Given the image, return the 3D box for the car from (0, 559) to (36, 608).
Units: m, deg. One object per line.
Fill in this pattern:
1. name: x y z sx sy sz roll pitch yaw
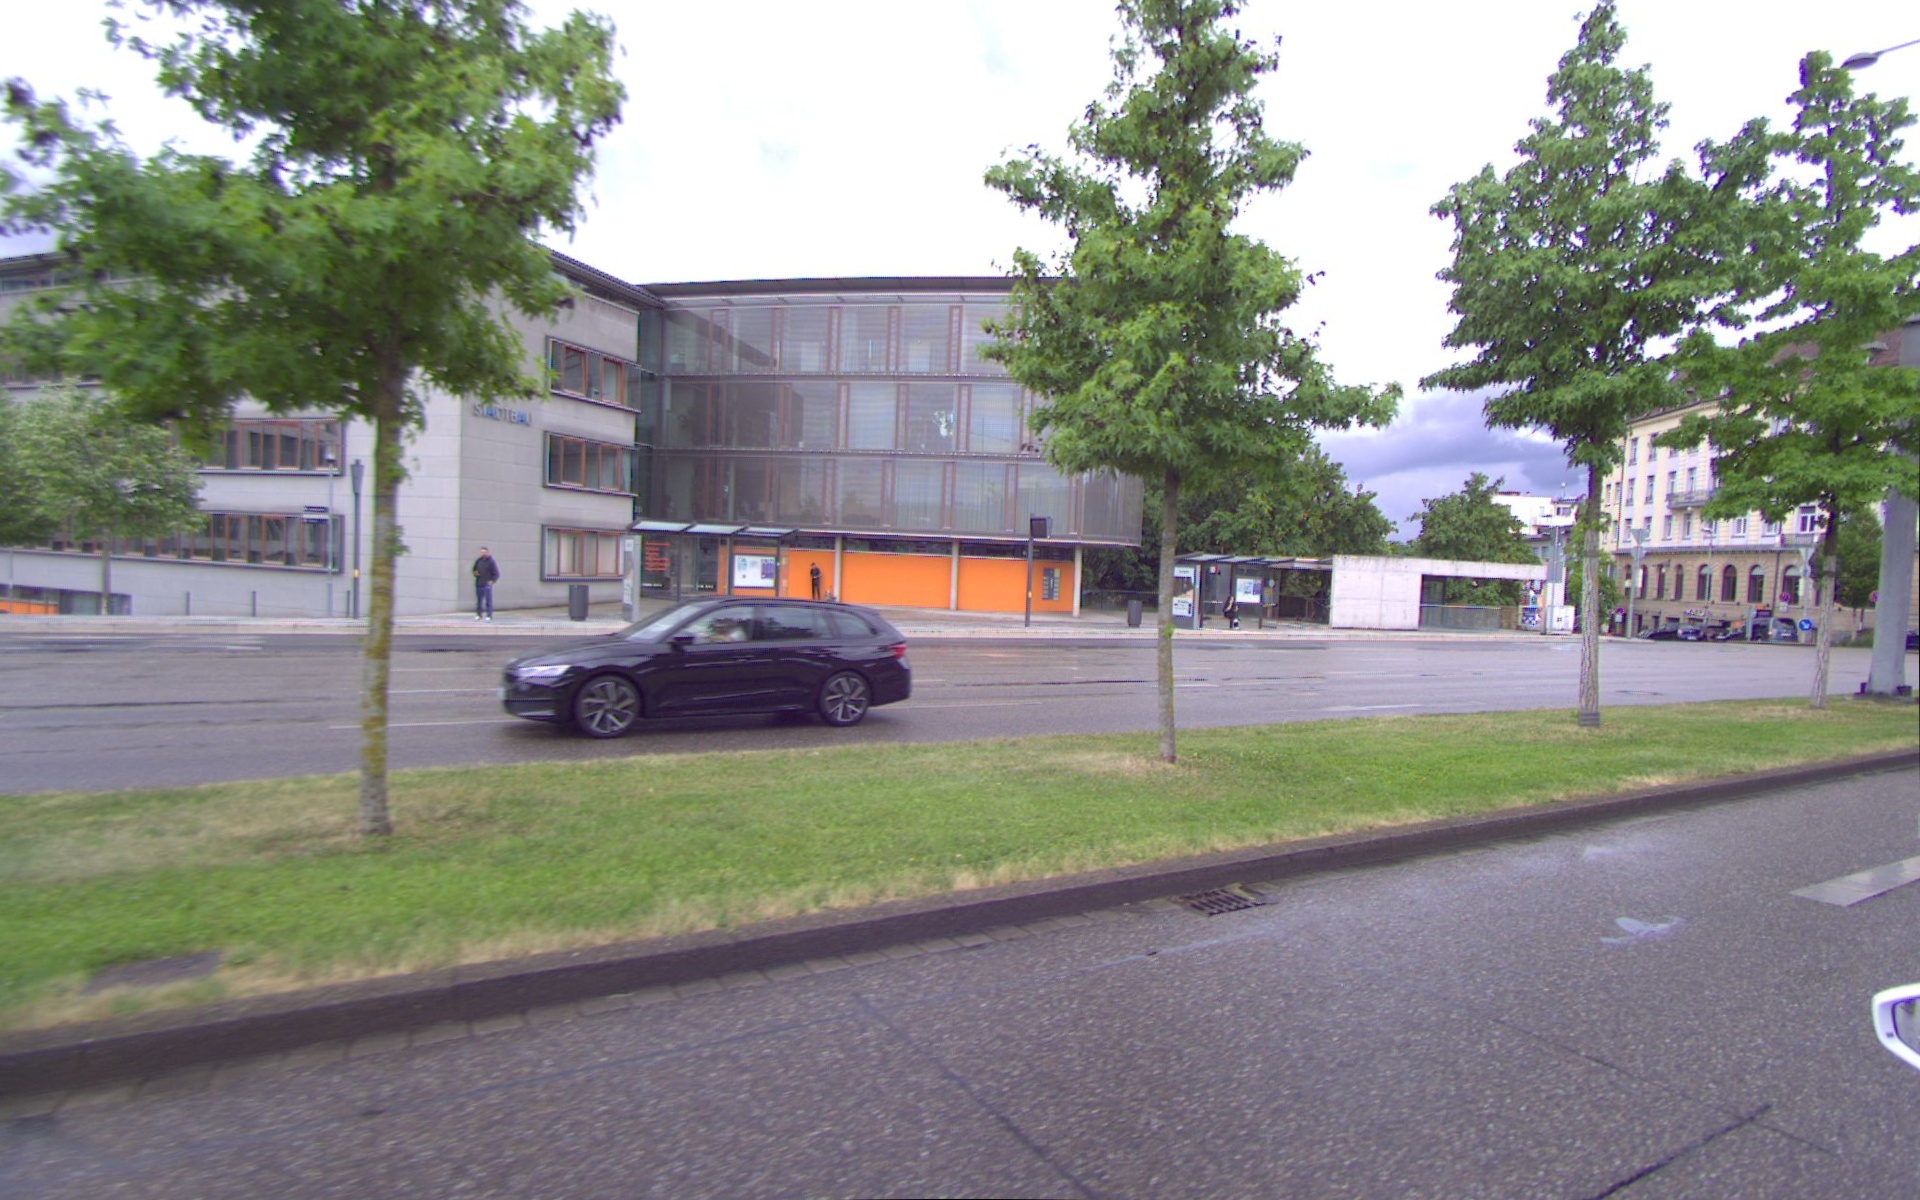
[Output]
1. car: -31.769 -0.577 31.663 3.520 1.515 1.629 2 1 -12

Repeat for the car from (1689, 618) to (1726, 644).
1. car: 49.413 2.060 66.429 1.634 1.626 3.245 -1 -1 31

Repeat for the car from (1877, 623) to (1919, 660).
1. car: 42.332 1.810 43.261 1.786 1.591 4.405 1 -1 2

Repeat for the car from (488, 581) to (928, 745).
1. car: -2.770 0.643 11.513 4.589 1.548 1.670 2 1 -33

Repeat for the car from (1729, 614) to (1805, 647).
1. car: 48.583 1.805 60.617 2.077 1.799 4.393 2 0 18

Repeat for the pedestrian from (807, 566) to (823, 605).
1. pedestrian: -6.443 -0.625 44.673 0.630 1.706 0.475 2 1 1

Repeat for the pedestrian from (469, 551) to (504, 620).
1. pedestrian: -11.925 -0.352 25.293 0.752 1.706 0.473 1 1 -24

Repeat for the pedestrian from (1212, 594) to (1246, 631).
1. pedestrian: 10.155 0.470 37.921 0.834 1.285 0.977 2 5 -9

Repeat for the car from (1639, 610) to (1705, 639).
1. car: 44.821 1.504 63.294 1.805 1.649 3.707 2 1 7
